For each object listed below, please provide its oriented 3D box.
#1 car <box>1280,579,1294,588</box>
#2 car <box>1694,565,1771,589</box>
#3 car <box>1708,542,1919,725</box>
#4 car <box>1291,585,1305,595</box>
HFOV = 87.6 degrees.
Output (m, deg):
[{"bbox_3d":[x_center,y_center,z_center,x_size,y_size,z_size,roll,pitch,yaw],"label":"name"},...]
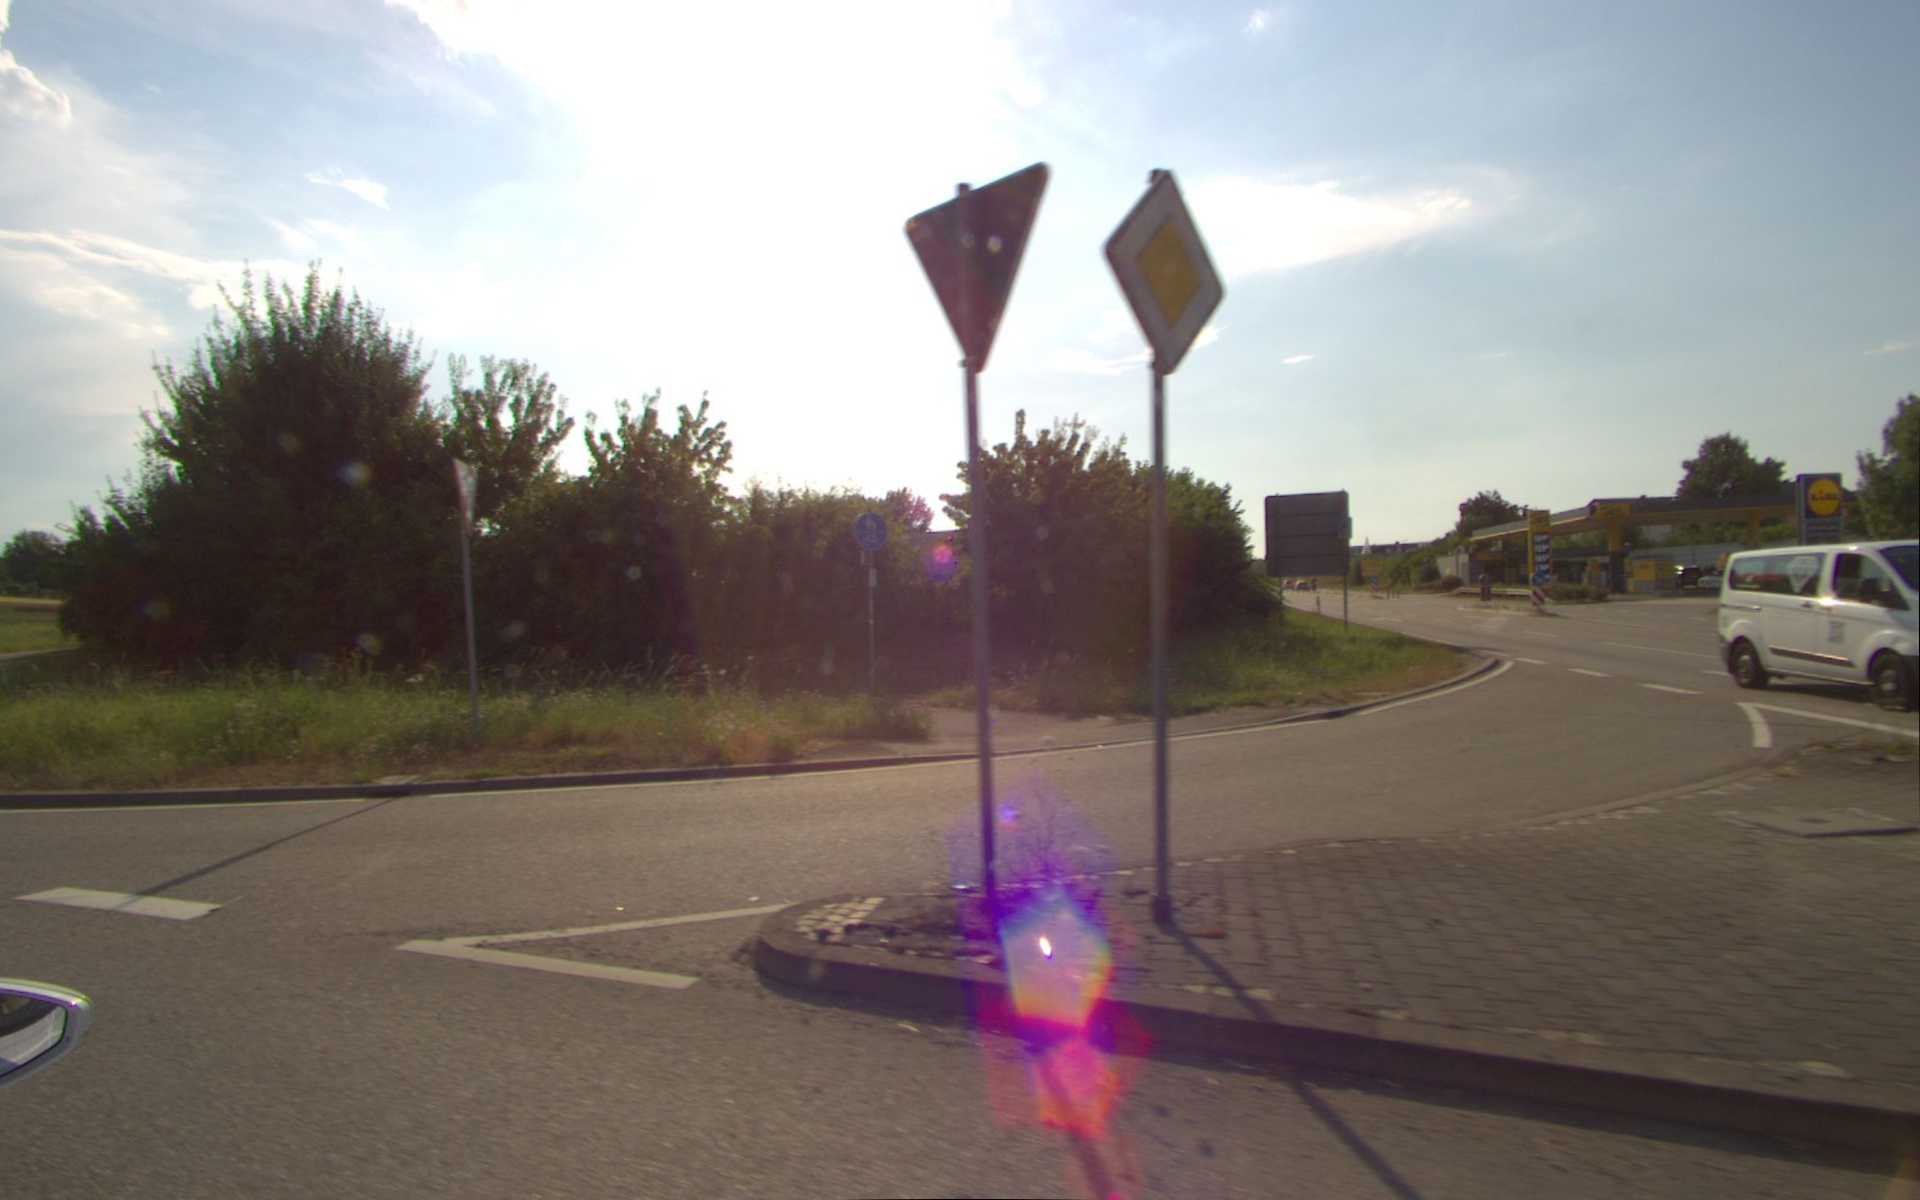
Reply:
[{"bbox_3d":[54.375,-2.753,166.696,1.713,1.370,3.202,0,0,9],"label":"car"},{"bbox_3d":[53.001,-1.560,68.814,2.247,1.393,4.854,0,-1,11],"label":"car"},{"bbox_3d":[11.623,0.322,12.331,1.870,1.974,4.813,0,2,11],"label":"car"},{"bbox_3d":[49.348,-1.467,146.207,1.525,1.468,3.048,0,0,9],"label":"car"}]
